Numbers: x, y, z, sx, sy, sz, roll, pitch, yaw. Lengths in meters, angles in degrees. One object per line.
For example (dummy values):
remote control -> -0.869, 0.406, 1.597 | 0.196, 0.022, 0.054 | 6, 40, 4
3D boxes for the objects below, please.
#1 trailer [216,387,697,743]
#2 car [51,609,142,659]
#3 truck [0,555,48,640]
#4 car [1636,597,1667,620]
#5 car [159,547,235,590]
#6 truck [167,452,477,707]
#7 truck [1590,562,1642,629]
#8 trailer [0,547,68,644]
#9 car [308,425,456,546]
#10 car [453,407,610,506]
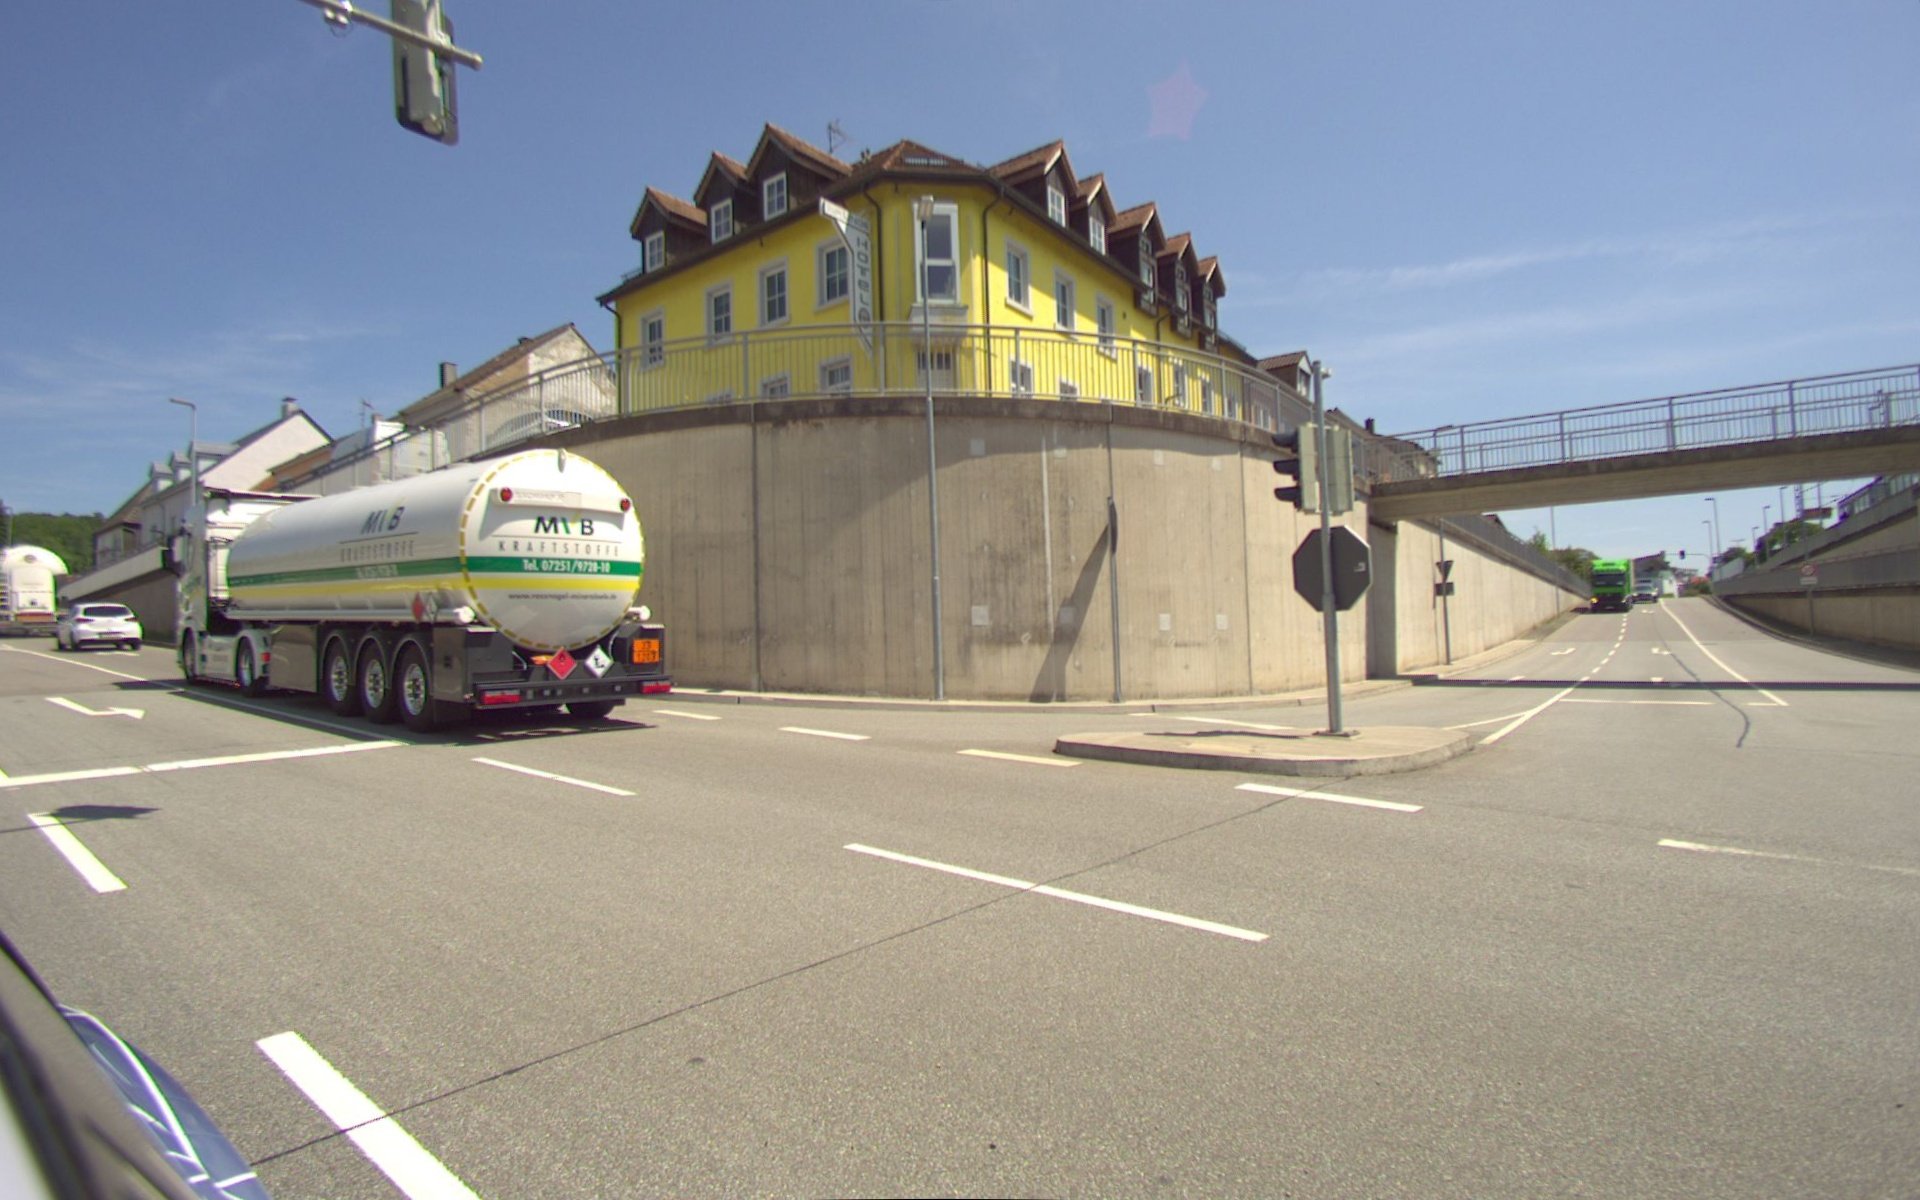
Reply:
trailer -> -7.861, -0.314, 14.747 | 9.883, 3.691, 2.662 | -1, 0, 41
car -> -27.604, 1.046, 32.320 | 4.092, 1.451, 1.664 | 0, -1, 42
truck -> -45.784, -0.104, 48.330 | 6.578, 3.890, 2.634 | 0, -1, 42
car -> 61.478, 0.742, 89.963 | 1.996, 1.918, 3.950 | -4, -2, 37
car -> -33.089, -1.310, 43.851 | 4.307, 1.473, 1.794 | -5, -3, 41
truck -> -11.589, -0.259, 18.041 | 7.365, 3.691, 2.662 | -1, 0, 41
truck -> 51.304, -0.315, 79.022 | 2.547, 4.837, 10.777 | -4, -2, 36
trailer -> -42.459, -0.179, 45.374 | 9.343, 3.994, 2.582 | 0, -1, 42
car -> -16.695, -3.134, 29.063 | 5.660, 2.556, 2.043 | -5, -3, 43
car -> -9.927, -3.220, 23.329 | 4.039, 1.512, 1.603 | -5, -3, 39
